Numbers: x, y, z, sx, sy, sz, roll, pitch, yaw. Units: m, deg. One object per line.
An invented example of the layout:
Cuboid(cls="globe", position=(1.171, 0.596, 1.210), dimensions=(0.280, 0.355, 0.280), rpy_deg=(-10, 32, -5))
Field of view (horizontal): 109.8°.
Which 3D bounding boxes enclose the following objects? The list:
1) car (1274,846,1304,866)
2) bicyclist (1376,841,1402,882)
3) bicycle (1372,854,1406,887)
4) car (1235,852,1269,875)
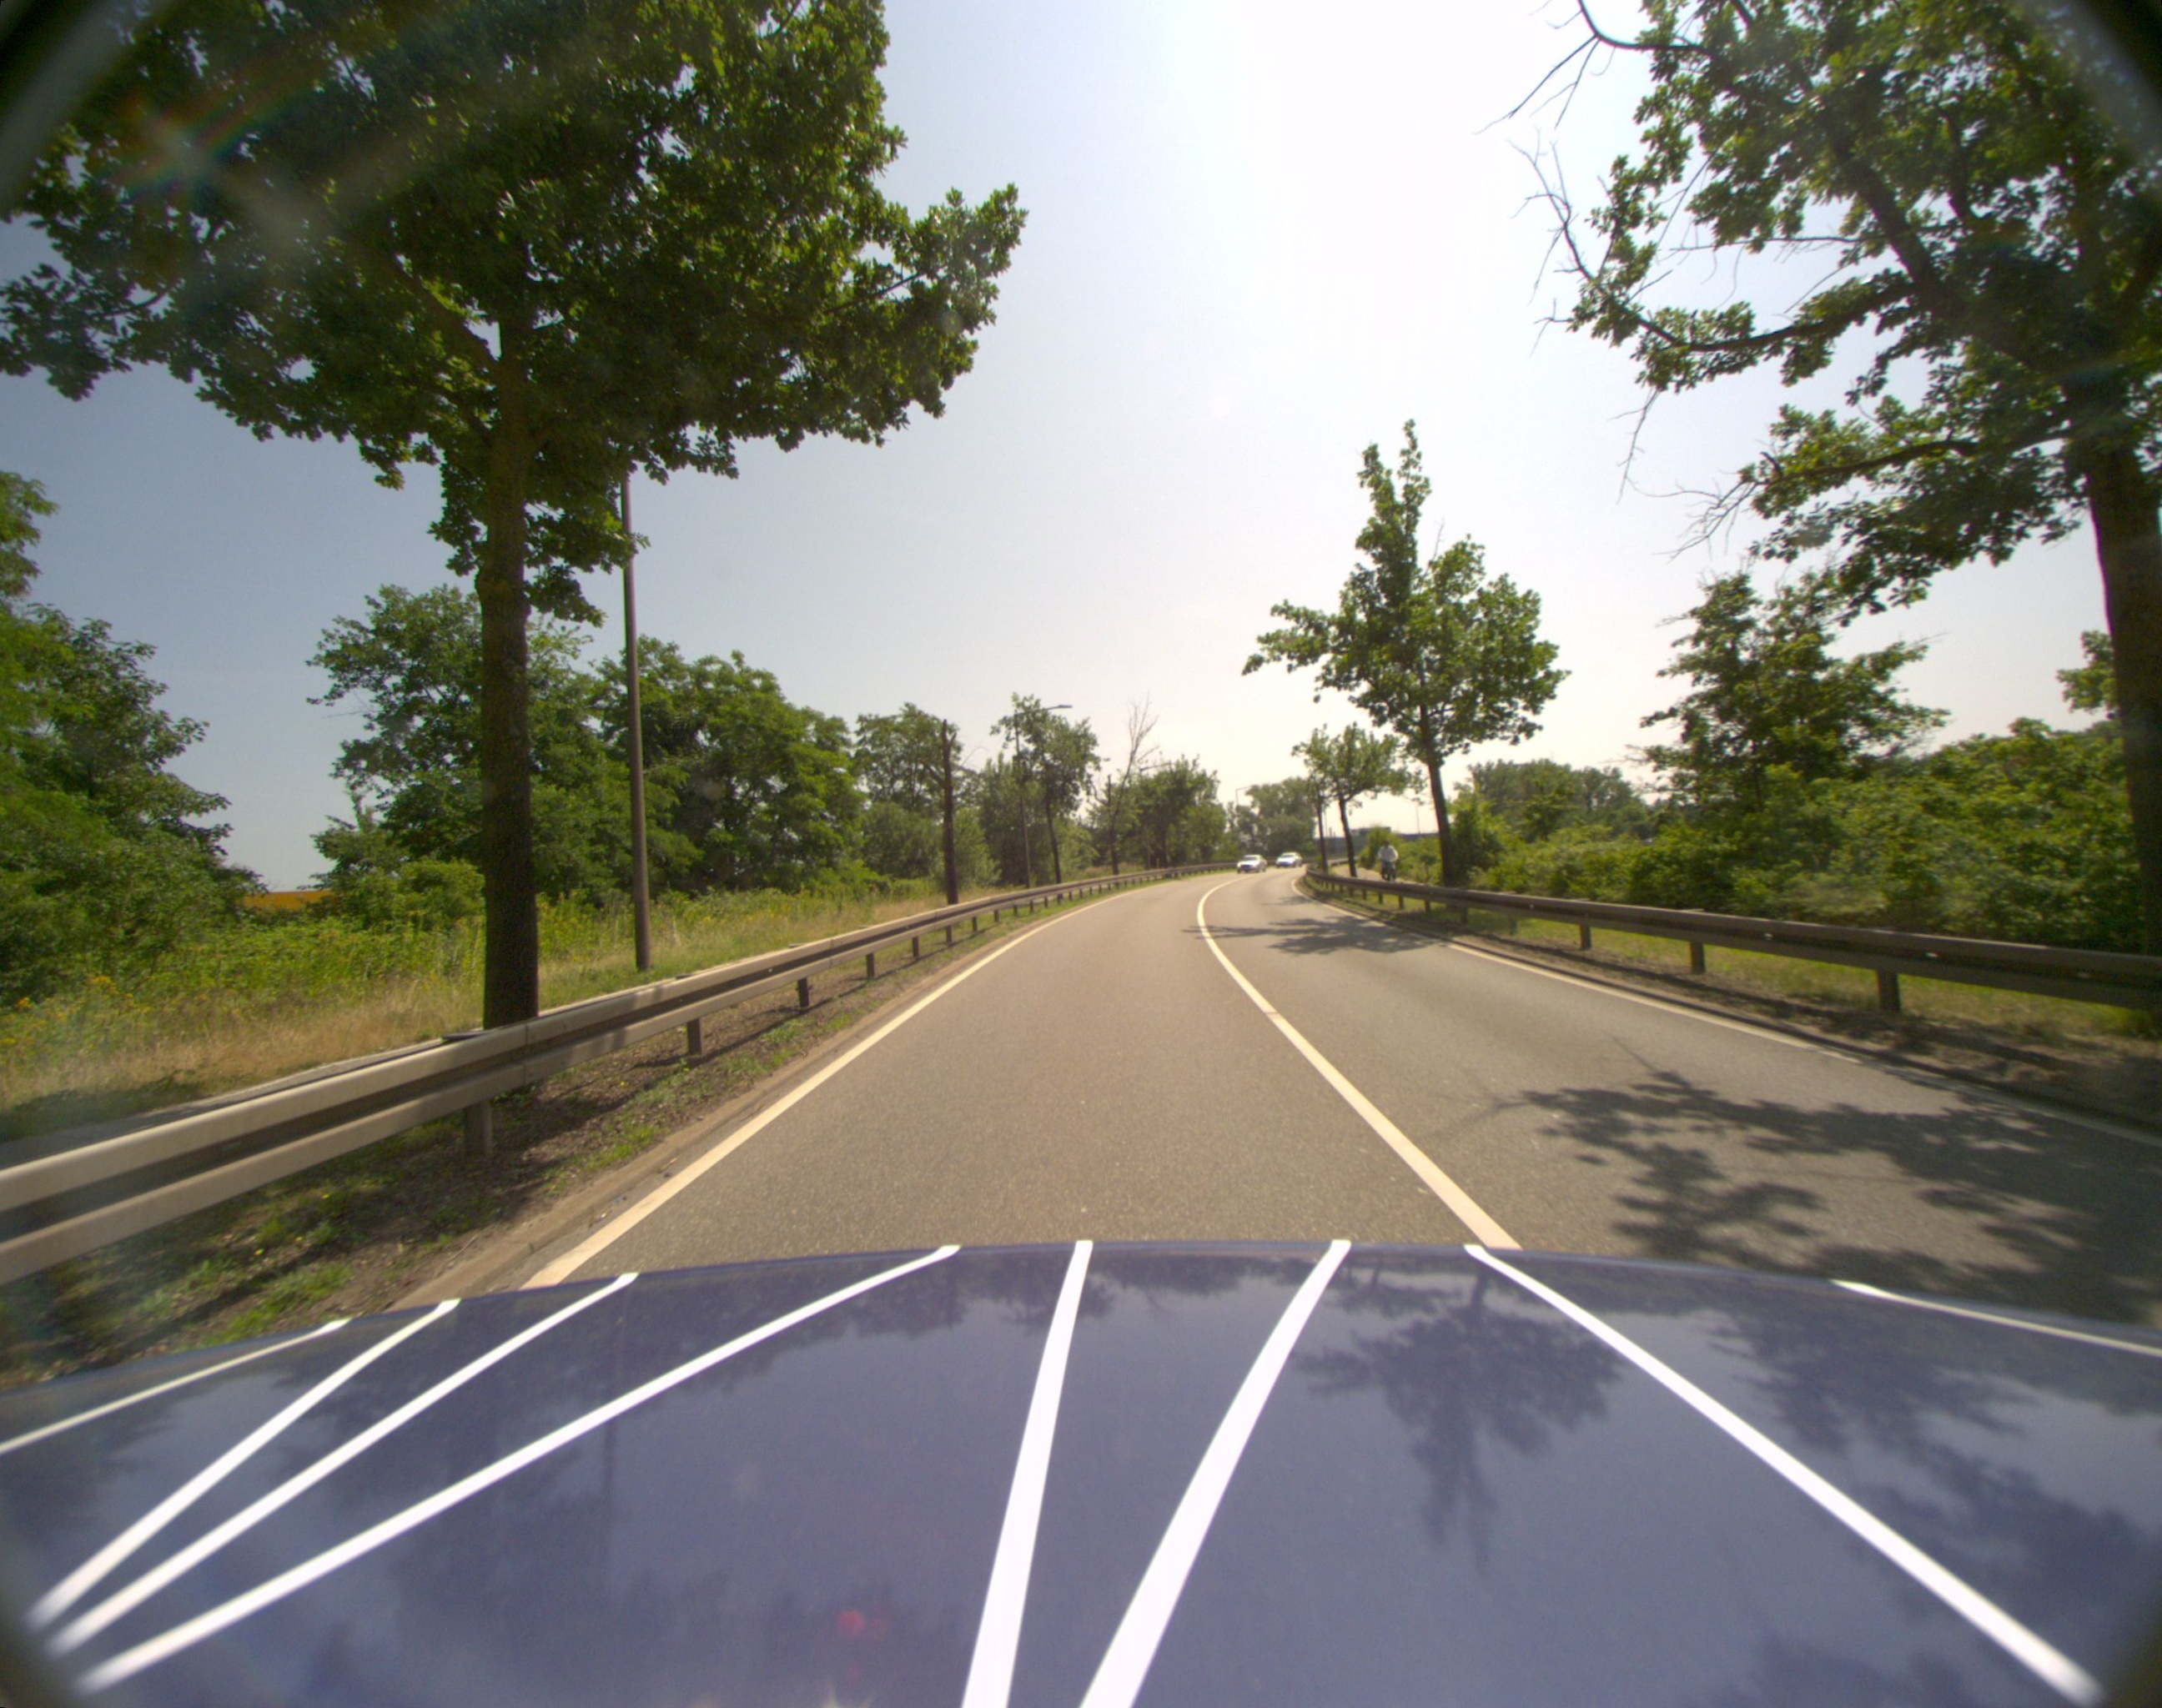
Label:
Cuboid(cls="car", position=(20.689, 0.188, 75.400), dimensions=(1.795, 1.772, 4.300), rpy_deg=(-3, 0, 29))
Cuboid(cls="bicyclist", position=(11.100, 0.272, 27.394), dimensions=(0.730, 1.457, 0.824), rpy_deg=(0, 1, 10))
Cuboid(cls="bicycle", position=(11.109, 0.579, 27.455), dimensions=(0.735, 1.110, 2.047), rpy_deg=(0, 1, 10))
Cuboid(cls="car", position=(13.925, 0.740, 61.651), dimensions=(1.760, 1.490, 4.239), rpy_deg=(-3, 2, 25))
